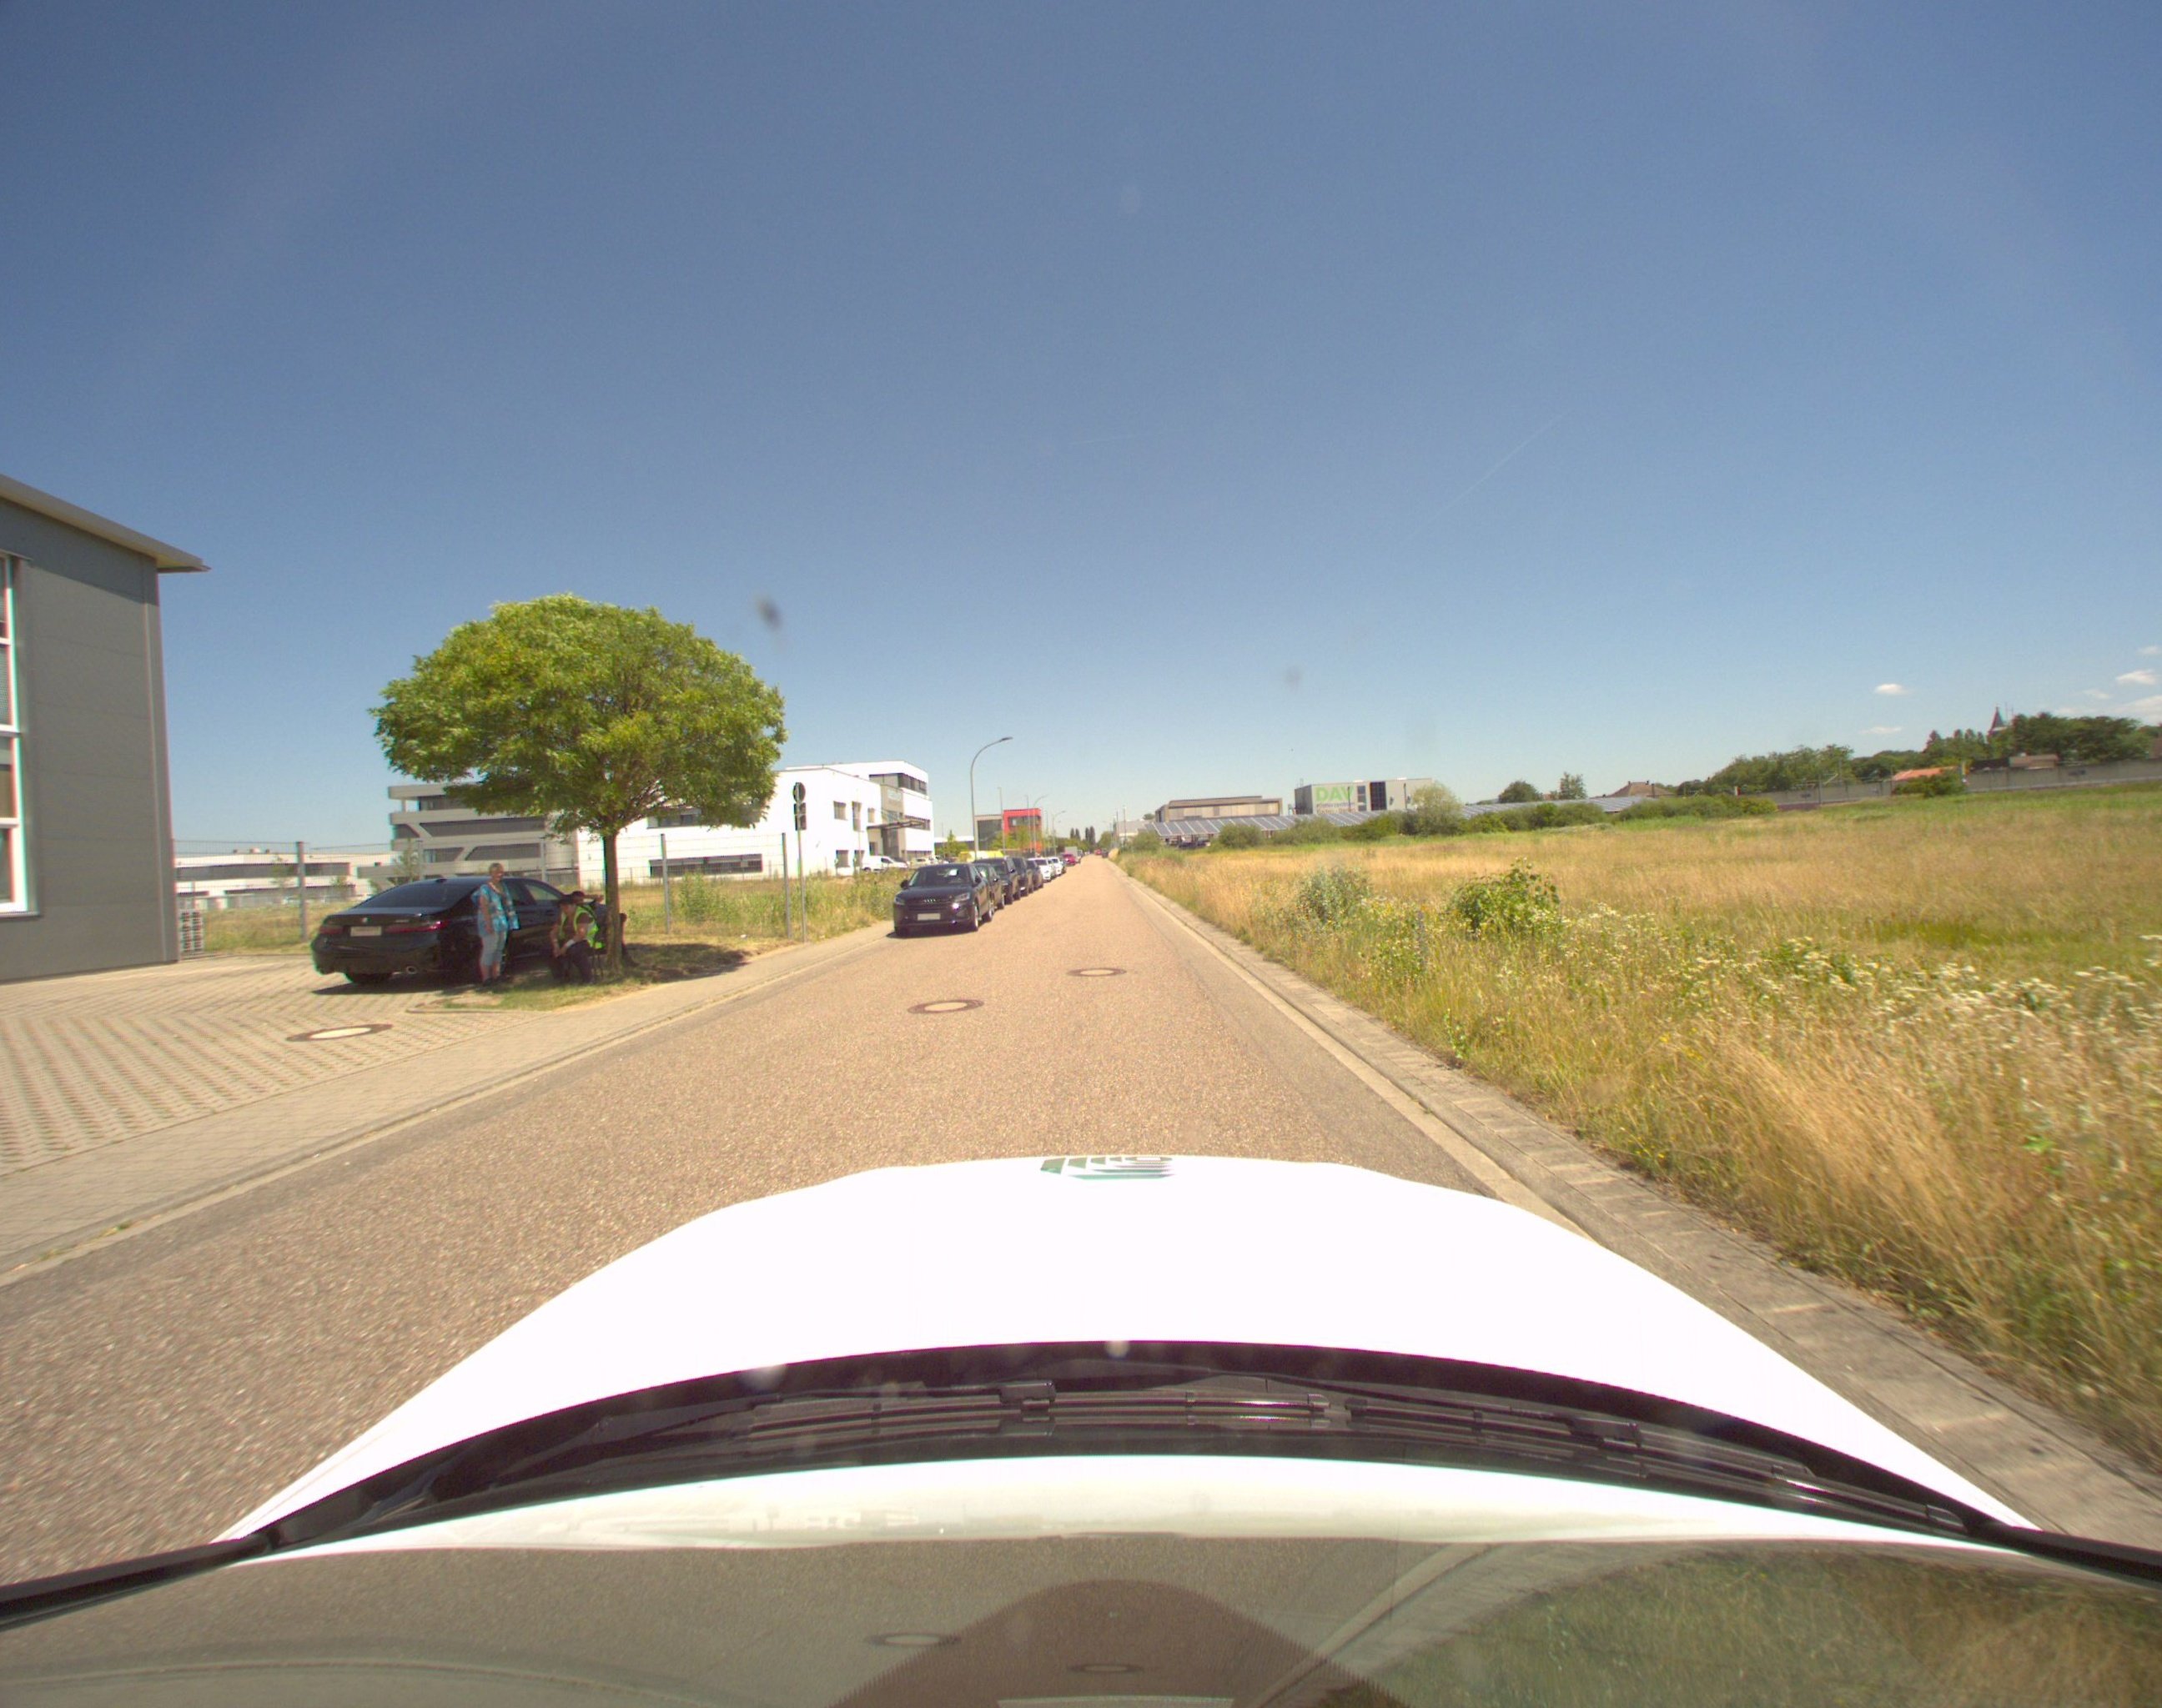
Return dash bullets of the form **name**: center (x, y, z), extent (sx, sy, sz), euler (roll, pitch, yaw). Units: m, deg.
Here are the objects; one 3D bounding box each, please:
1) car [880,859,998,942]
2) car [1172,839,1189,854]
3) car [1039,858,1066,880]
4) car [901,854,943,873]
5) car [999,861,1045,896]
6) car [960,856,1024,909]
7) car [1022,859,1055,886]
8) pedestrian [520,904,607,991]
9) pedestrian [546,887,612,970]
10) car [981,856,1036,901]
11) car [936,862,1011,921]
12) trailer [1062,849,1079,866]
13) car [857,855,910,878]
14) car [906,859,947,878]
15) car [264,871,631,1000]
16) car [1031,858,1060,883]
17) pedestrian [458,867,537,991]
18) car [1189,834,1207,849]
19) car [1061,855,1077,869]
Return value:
- **car**: center (-3.157, 0.965, 18.939), extent (1.921, 1.567, 4.189), euler (-4, 0, 0)
- **car**: center (14.688, -1.108, 120.170), extent (1.987, 2.013, 4.000), euler (-4, 0, 1)
- **car**: center (-2.219, 1.126, 63.919), extent (1.780, 1.520, 3.983), euler (-4, 0, 1)
- **car**: center (-18.951, 1.104, 97.126), extent (4.512, 1.943, 2.032), euler (-4, 0, 1)
- **car**: center (-2.855, 1.158, 40.673), extent (1.762, 1.485, 5.015), euler (-4, 0, 1)
- **car**: center (-3.116, 0.950, 29.410), extent (1.671, 1.663, 4.237), euler (-4, 0, 1)
- **car**: center (-2.712, 1.158, 52.489), extent (1.780, 1.520, 3.983), euler (-3, 0, 1)
- **pedestrian**: center (-6.943, 1.235, 10.951), extent (0.747, 1.099, 0.647), euler (0, 0, 5)
- **pedestrian**: center (-7.633, 1.115, 12.413), extent (0.503, 1.191, 0.753), euler (0, 0, 3)
- **car**: center (-3.049, 0.971, 34.904), extent (1.762, 1.663, 4.553), euler (-4, 0, 1)
- **car**: center (-3.157, 1.056, 24.524), extent (1.585, 1.492, 3.833), euler (-4, 0, 1)
- **trailer**: center (-1.428, 0.436, 112.828), extent (2.193, 2.137, 4.286), euler (-4, 0, 1)
- **car**: center (-19.212, 1.247, 79.484), extent (4.512, 1.943, 2.032), euler (-4, 0, 1)
- **car**: center (-18.842, 1.790, 99.586), extent (4.512, 1.943, 2.032), euler (-4, 0, 1)
- **car**: center (-9.129, 1.060, 12.428), extent (1.921, 1.464, 4.691), euler (-1, 0, 0)
- **car**: center (-2.492, 1.155, 58.397), extent (1.780, 1.520, 3.983), euler (-4, 0, 1)
- **pedestrian**: center (-7.855, 0.982, 10.986), extent (0.503, 1.595, 0.753), euler (0, 0, 3)
- **car**: center (17.266, -1.790, 120.166), extent (1.987, 2.013, 4.000), euler (-4, 0, 1)
- **car**: center (-1.465, 0.974, 101.243), extent (1.780, 1.520, 3.983), euler (-4, 0, 1)
